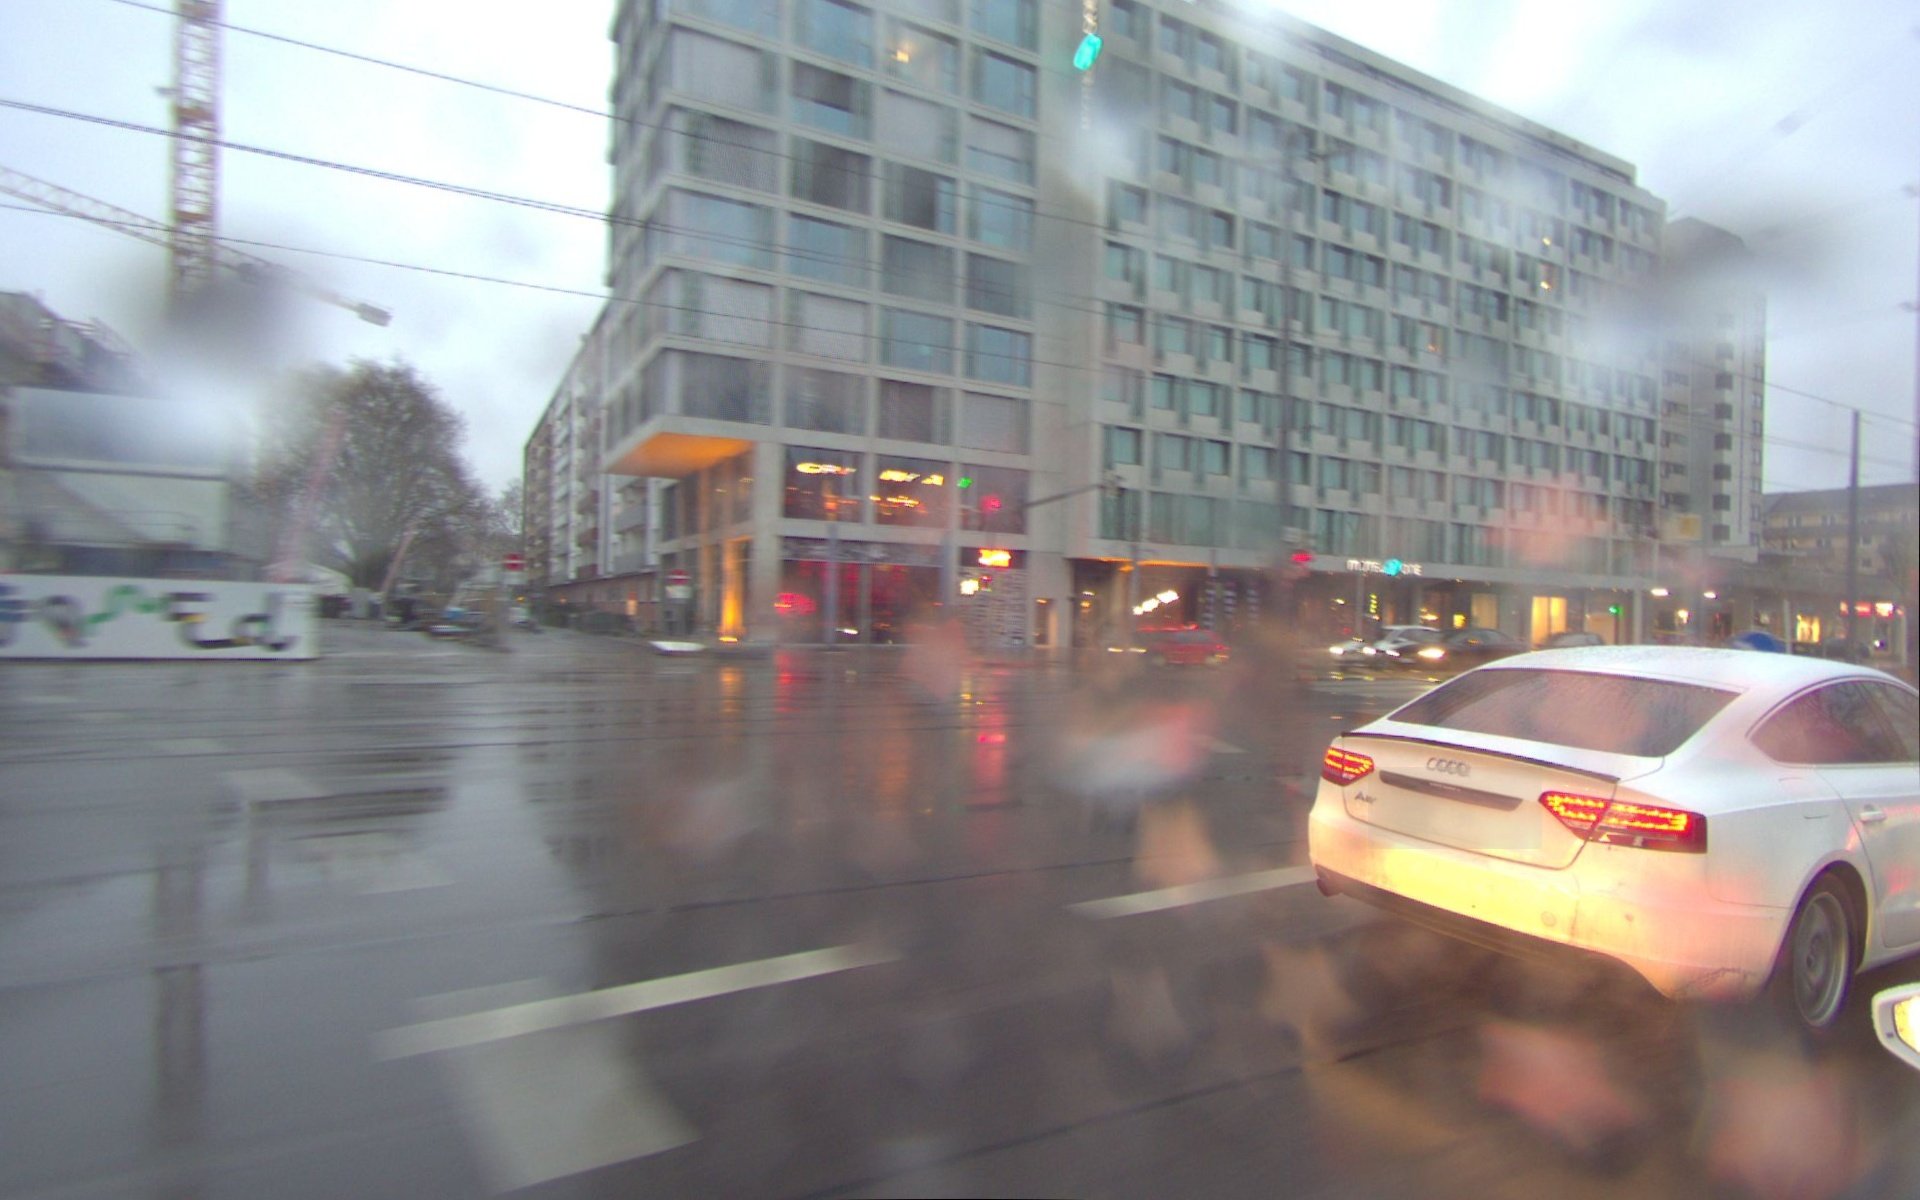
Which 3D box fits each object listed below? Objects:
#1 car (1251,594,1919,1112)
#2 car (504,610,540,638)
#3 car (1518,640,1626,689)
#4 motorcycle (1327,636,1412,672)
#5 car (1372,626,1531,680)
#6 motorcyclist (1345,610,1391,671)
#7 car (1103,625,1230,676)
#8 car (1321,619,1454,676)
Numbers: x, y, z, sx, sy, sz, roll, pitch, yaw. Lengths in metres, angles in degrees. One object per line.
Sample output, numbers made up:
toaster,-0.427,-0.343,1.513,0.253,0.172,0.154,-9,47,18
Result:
car,3.564,0.809,4.773,4.202,1.489,1.751,2,0,-30
car,-27.776,1.501,63.684,1.863,1.595,3.972,2,0,-27
car,21.447,2.188,35.120,5.060,1.481,1.974,2,0,-44
motorcycle,13.128,1.722,32.190,2.931,1.071,0.867,2,0,-30
car,15.444,1.669,31.515,5.034,1.481,1.984,2,0,-30
motorcyclist,13.051,1.293,32.143,1.021,1.910,0.867,2,1,-29
car,7.154,1.766,34.814,3.947,1.595,1.875,2,0,-26
car,14.941,1.667,35.062,4.544,1.813,1.872,2,0,-30
